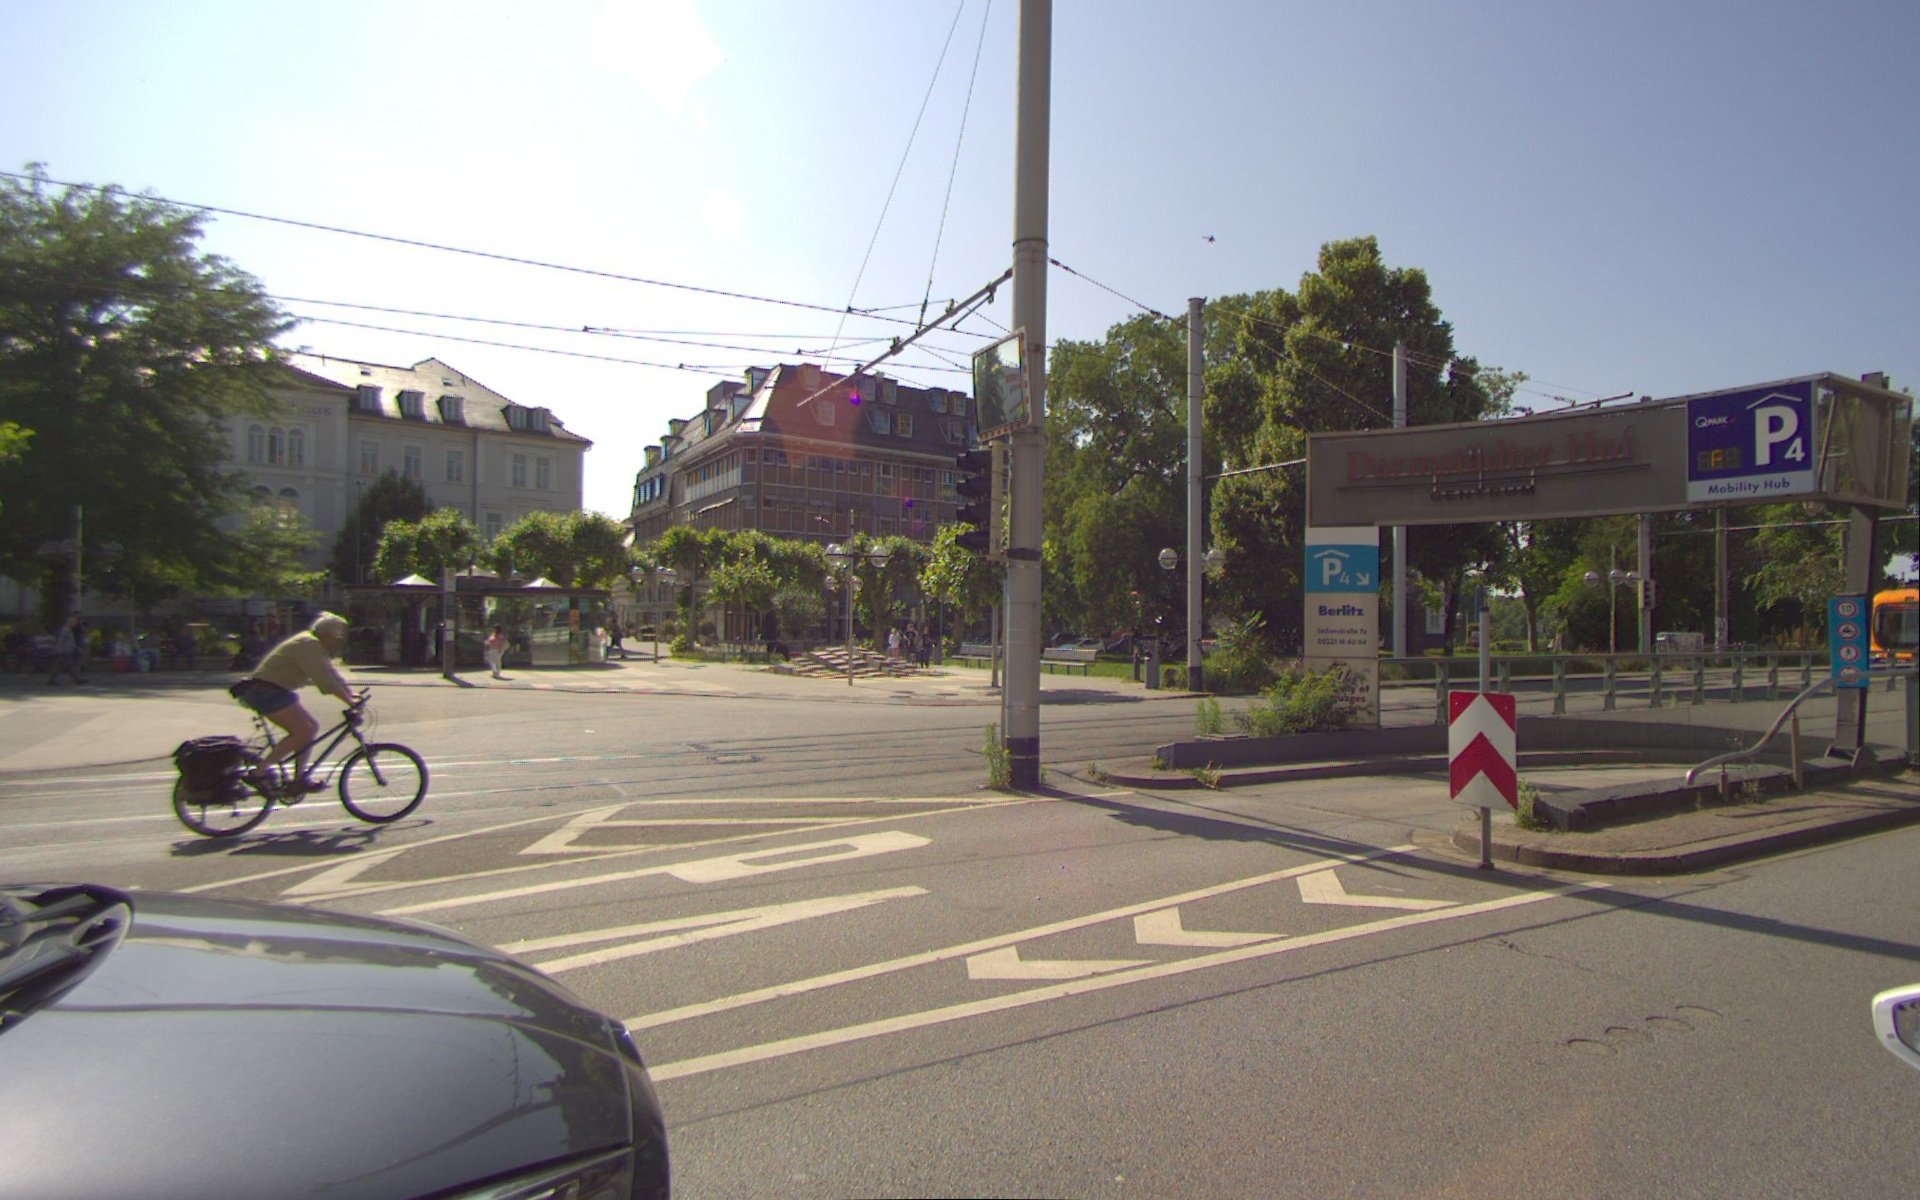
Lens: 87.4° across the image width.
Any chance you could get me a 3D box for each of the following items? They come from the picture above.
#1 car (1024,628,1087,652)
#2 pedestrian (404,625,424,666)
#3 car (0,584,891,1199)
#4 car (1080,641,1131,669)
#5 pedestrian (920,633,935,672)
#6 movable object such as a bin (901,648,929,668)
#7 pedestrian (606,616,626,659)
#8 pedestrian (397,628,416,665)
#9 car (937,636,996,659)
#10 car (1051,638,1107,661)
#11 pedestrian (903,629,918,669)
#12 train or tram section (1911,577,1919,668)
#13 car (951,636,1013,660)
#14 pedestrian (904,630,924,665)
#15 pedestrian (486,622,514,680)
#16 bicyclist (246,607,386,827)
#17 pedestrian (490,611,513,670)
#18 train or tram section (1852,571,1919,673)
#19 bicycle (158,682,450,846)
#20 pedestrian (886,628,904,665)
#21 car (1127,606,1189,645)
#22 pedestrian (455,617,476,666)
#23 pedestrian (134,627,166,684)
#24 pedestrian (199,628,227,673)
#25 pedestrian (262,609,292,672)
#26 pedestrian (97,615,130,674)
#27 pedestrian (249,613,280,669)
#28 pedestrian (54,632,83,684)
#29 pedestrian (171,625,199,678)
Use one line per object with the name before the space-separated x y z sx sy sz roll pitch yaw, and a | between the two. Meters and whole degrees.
car | 7.242 3.047 76.265 4.798 1.685 1.743 2 1 -36
pedestrian | -19.361 1.617 35.608 0.591 1.409 0.565 1 -3 -31
car | -2.221 0.725 0.859 3.950 1.494 1.770 2 -2 -28
car | 11.672 4.424 80.654 3.602 2.040 1.983 2 1 -31
pedestrian | -1.353 2.186 42.078 0.491 1.630 0.410 1 -3 -39
movable object such as a bin | -1.823 2.335 40.356 0.790 0.764 0.903 1 -3 -30
pedestrian | -16.611 1.813 48.514 0.822 2.033 0.598 1 -3 -33
pedestrian | -20.330 1.708 36.893 0.591 1.377 0.565 1 -3 -31
car | 0.460 3.376 71.801 3.962 1.528 1.743 2 1 -36
car | 8.873 3.681 74.631 3.962 1.528 1.743 2 1 -36
pedestrian | -2.051 1.998 41.354 0.460 1.630 0.449 1 -3 -30
train or tram section | 41.650 1.021 40.907 6.033 3.629 2.600 2 1 -31
car | 1.532 3.298 69.273 3.962 1.528 1.743 2 1 -36
pedestrian | -2.013 2.093 43.899 0.656 1.512 0.521 1 -3 -38
pedestrian | -14.060 1.562 30.688 0.697 1.728 0.673 1 -3 -31
bicyclist | -5.183 0.906 8.115 0.893 1.643 0.813 1 -4 -34
pedestrian | -16.093 1.422 35.267 0.726 2.033 0.627 1 -3 -25
train or tram section | 36.491 0.842 37.796 6.033 3.629 2.600 2 1 -31
bicycle | -5.203 1.246 8.088 1.855 1.135 0.813 2 -4 -34
pedestrian | -2.892 2.082 44.740 0.616 1.630 0.488 1 -3 -40
car | 17.934 2.314 90.926 5.358 3.360 2.115 2 1 -31
pedestrian | -18.025 1.518 36.646 0.612 1.751 0.737 1 -3 -31
pedestrian | -24.995 1.711 30.999 0.612 1.751 0.737 1 -3 -31
pedestrian | -23.683 1.606 31.855 0.614 1.403 0.734 2 -3 -42
pedestrian | -22.201 1.312 32.648 0.537 2.033 0.630 -2 -3 38
pedestrian | -25.686 1.349 30.493 0.612 1.751 0.737 1 -3 -31
pedestrian | -22.079 1.309 31.891 0.537 1.771 0.630 -2 -3 38
pedestrian | -22.188 1.449 25.004 0.398 1.279 0.480 -3 -3 41
pedestrian | -24.204 1.595 31.355 0.614 1.619 0.734 2 -3 -42
